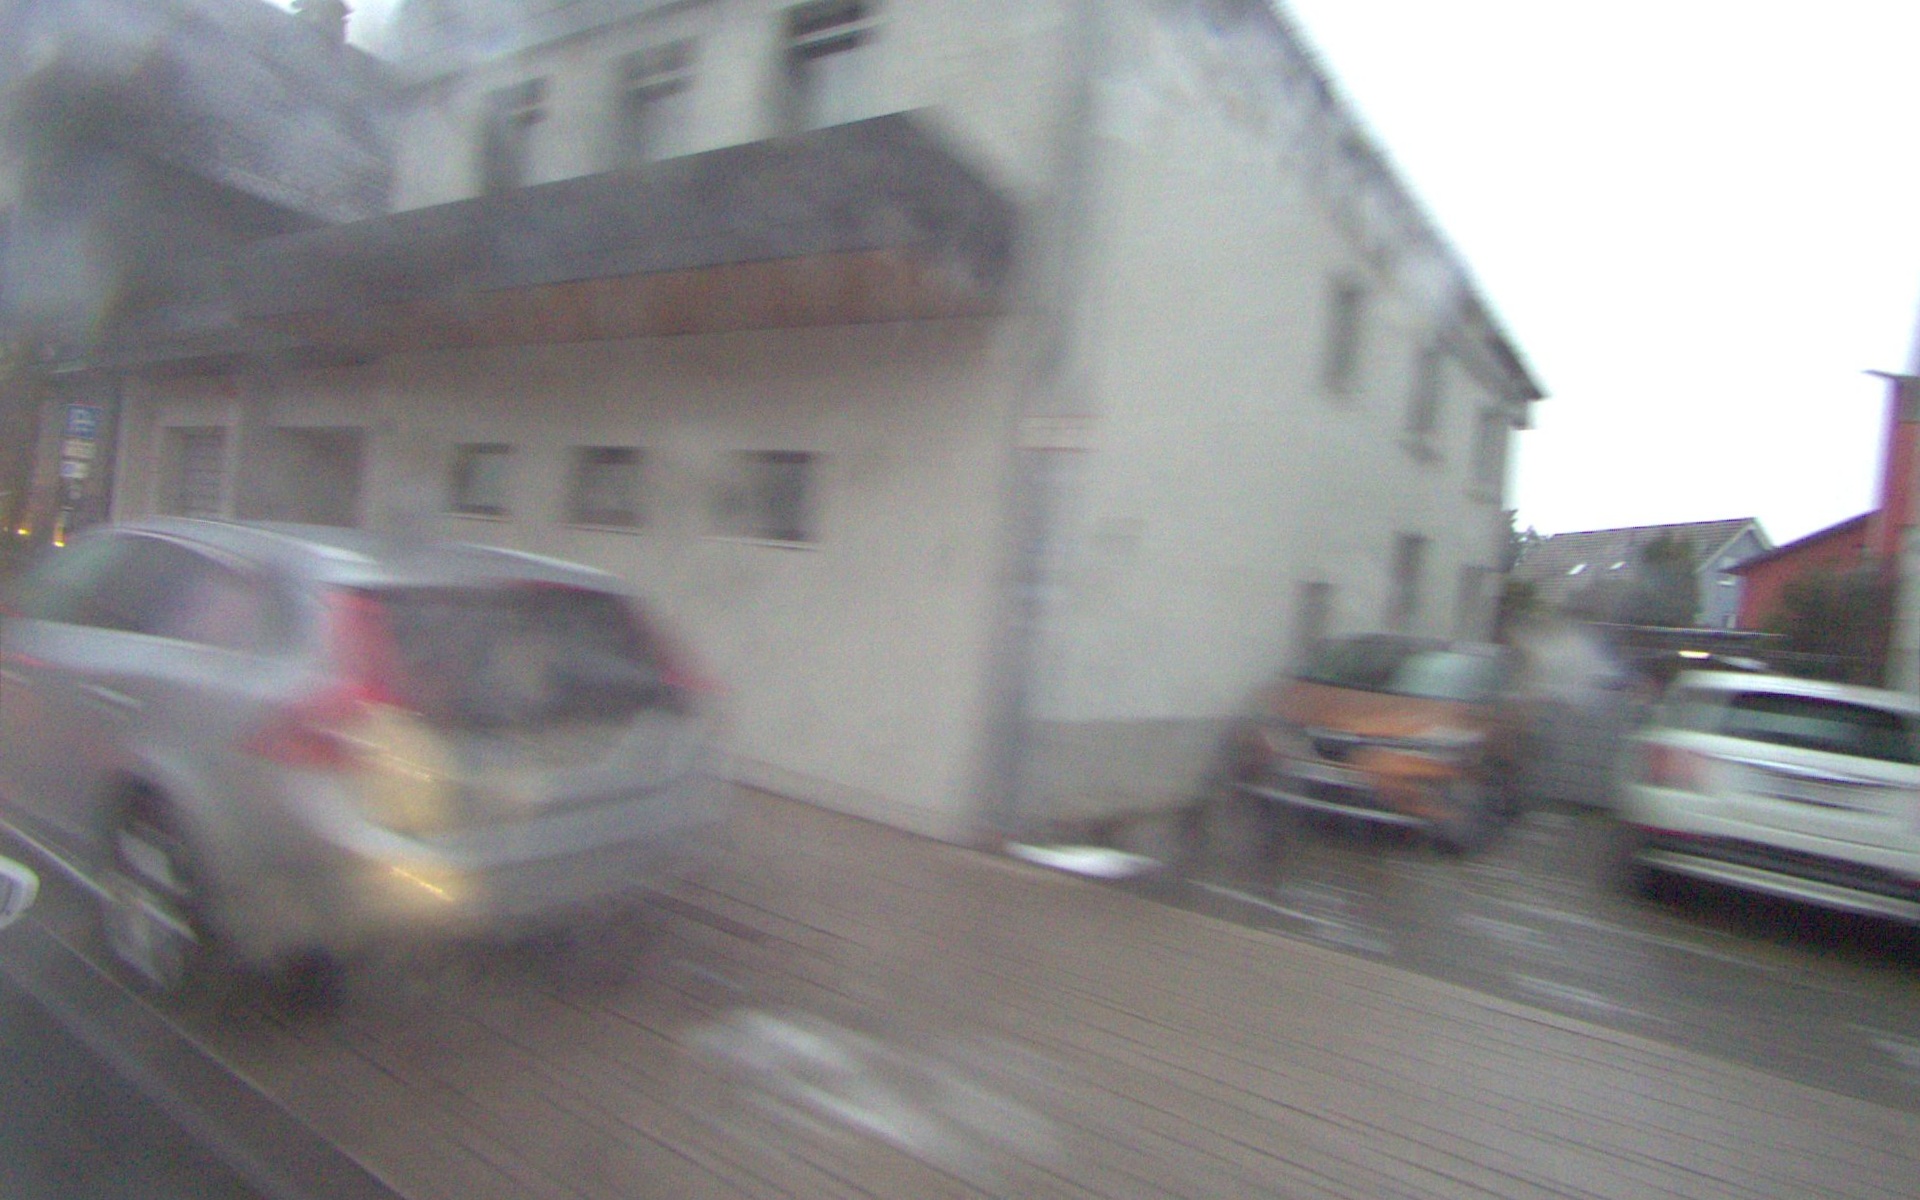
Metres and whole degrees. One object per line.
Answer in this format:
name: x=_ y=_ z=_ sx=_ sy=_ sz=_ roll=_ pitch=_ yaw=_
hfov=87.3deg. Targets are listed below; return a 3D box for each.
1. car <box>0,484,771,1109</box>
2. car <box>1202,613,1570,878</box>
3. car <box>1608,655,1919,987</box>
car: x=-2.989 y=0.373 z=4.332 sx=4.167 sy=1.474 sz=1.652 roll=7 pitch=3 yaw=32
car: x=3.922 y=1.107 z=8.807 sx=1.836 sy=1.575 sz=4.144 roll=7 pitch=0 yaw=38
car: x=6.047 y=1.347 z=7.379 sx=1.777 sy=1.622 sz=4.004 roll=8 pitch=2 yaw=36
